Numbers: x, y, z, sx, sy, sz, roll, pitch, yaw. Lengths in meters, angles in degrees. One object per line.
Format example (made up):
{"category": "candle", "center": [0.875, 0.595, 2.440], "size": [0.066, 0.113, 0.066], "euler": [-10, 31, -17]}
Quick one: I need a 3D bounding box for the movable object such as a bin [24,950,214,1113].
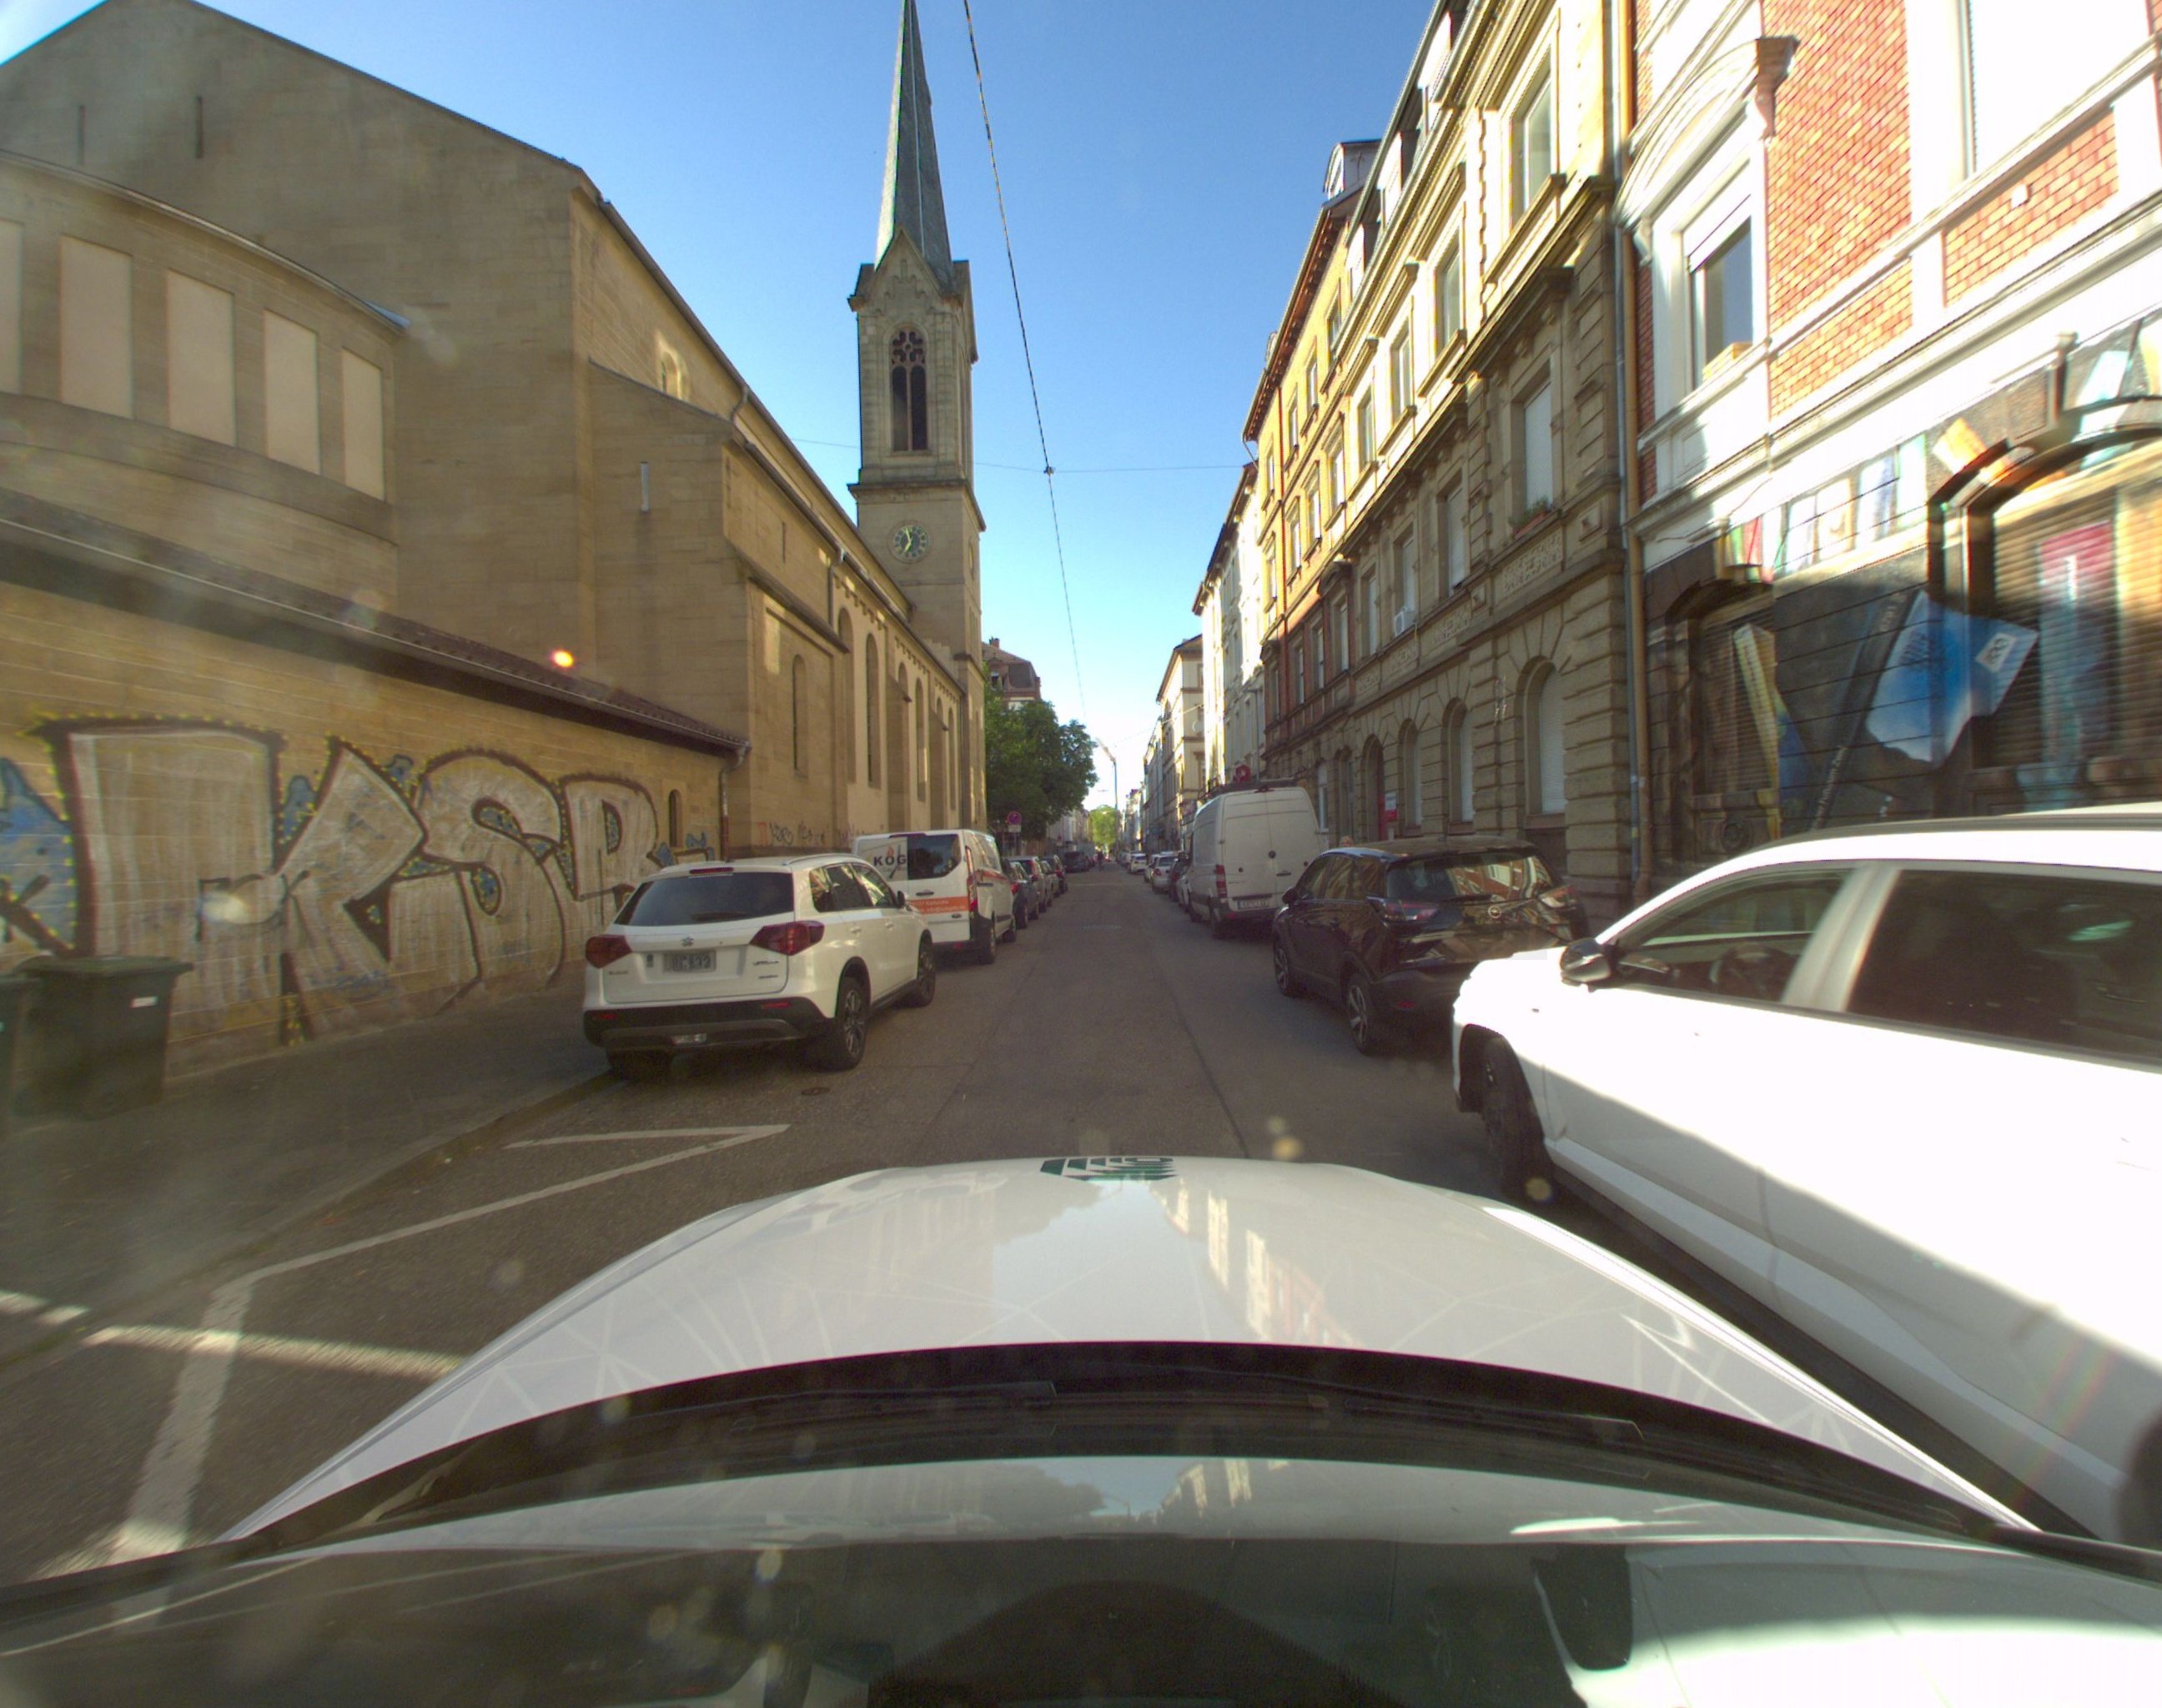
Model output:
{"category": "movable object such as a bin", "center": [-5.937, 1.076, 5.054], "size": [0.480, 0.876, 0.571], "euler": [-1, 0, 1]}

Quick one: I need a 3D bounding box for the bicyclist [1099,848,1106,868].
{"category": "bicyclist", "center": [1.793, 0.324, 67.729], "size": [0.603, 1.688, 0.885], "euler": [-2, 0, 2]}

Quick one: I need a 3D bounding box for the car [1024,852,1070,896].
{"category": "car", "center": [-1.361, 0.787, 34.109], "size": [1.594, 1.614, 3.809], "euler": [-4, 0, 1]}

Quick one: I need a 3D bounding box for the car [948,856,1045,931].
{"category": "car", "center": [-1.843, 0.836, 18.908], "size": [1.609, 1.451, 3.952], "euler": [-3, 0, 2]}

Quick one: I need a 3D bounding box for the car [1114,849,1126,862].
{"category": "car", "center": [6.611, 0.219, 137.485], "size": [1.986, 2.013, 4.002], "euler": [-2, 0, 2]}

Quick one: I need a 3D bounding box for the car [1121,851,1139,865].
{"category": "car", "center": [5.679, 0.477, 95.397], "size": [1.986, 1.632, 4.002], "euler": [1, 0, 2]}

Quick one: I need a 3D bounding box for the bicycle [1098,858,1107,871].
{"category": "bicycle", "center": [1.804, 0.852, 67.801], "size": [0.736, 1.043, 1.860], "euler": [-2, 0, 2]}

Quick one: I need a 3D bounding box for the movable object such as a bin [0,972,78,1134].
{"category": "movable object such as a bin", "center": [-5.955, 1.083, 4.348], "size": [0.451, 0.807, 0.590], "euler": [-1, 0, 1]}

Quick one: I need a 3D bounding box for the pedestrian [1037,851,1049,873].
{"category": "pedestrian", "center": [-3.178, 0.694, 67.894], "size": [0.925, 1.786, 0.807], "euler": [-2, 0, 3]}

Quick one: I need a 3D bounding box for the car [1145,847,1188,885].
{"category": "car", "center": [3.937, 0.547, 38.185], "size": [1.710, 1.645, 4.002], "euler": [-2, 0, 2]}

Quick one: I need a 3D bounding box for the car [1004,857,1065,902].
{"category": "car", "center": [-1.623, 0.873, 29.610], "size": [1.563, 1.398, 3.813], "euler": [-5, 0, 4]}

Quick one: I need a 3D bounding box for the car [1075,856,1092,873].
{"category": "car", "center": [0.331, 1.215, 95.023], "size": [1.868, 1.796, 4.002], "euler": [-2, 0, 2]}

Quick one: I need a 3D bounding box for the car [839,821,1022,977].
{"category": "car", "center": [-2.148, 0.595, 13.028], "size": [1.857, 1.957, 4.611], "euler": [-3, 0, 1]}

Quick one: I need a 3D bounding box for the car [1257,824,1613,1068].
{"category": "car", "center": [2.851, 0.630, 7.551], "size": [1.681, 1.642, 3.926], "euler": [-1, 0, 2]}

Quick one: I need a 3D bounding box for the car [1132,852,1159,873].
{"category": "car", "center": [4.814, 0.608, 61.201], "size": [1.890, 1.488, 3.871], "euler": [-2, 0, 2]}

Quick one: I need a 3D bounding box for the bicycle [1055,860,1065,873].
{"category": "bicycle", "center": [-1.797, 1.049, 70.376], "size": [0.644, 1.108, 1.600], "euler": [-1, 0, -9]}

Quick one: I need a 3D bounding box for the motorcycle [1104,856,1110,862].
{"category": "motorcycle", "center": [4.669, 0.829, 145.574], "size": [1.039, 0.980, 2.824], "euler": [-2, 0, 0]}

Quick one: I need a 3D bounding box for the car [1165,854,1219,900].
{"category": "car", "center": [3.743, 0.738, 27.912], "size": [1.563, 1.495, 3.656], "euler": [0, 0, 3]}

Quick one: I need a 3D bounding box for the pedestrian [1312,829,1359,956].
{"category": "pedestrian", "center": [3.673, 0.541, 11.791], "size": [0.635, 1.772, 0.681], "euler": [0, -1, 15]}

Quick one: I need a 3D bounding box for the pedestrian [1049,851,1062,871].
{"category": "pedestrian", "center": [-2.098, 0.548, 67.058], "size": [0.925, 1.637, 0.807], "euler": [-2, 0, 3]}

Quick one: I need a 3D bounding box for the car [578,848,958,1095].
{"category": "car", "center": [-2.342, 0.766, 7.253], "size": [1.735, 1.586, 3.871], "euler": [-1, 0, 2]}

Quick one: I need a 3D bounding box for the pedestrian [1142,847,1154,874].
{"category": "pedestrian", "center": [4.610, 0.428, 56.164], "size": [0.681, 1.843, 0.692], "euler": [-1, 0, -10]}

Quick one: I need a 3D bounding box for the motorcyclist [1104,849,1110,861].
{"category": "motorcyclist", "center": [4.655, 0.217, 145.393], "size": [0.899, 2.013, 1.190], "euler": [-2, 0, 0]}

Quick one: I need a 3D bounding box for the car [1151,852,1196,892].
{"category": "car", "center": [3.662, 0.693, 32.833], "size": [1.597, 1.505, 4.003], "euler": [0, 0, 3]}

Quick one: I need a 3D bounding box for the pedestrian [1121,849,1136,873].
{"category": "pedestrian", "center": [3.698, 0.517, 63.613], "size": [0.775, 1.843, 1.018], "euler": [-1, 0, 27]}

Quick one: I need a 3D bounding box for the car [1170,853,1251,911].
{"category": "car", "center": [3.604, 0.717, 23.286], "size": [1.773, 1.486, 4.362], "euler": [0, 0, 2]}

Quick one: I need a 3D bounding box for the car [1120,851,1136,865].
{"category": "car", "center": [6.135, 0.501, 106.033], "size": [1.986, 1.686, 4.002], "euler": [1, 0, 2]}

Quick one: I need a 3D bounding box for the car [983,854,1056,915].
{"category": "car", "center": [-1.702, 0.802, 23.636], "size": [1.667, 1.558, 4.001], "euler": [-2, 0, 1]}

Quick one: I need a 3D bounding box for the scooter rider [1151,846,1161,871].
{"category": "scooter rider", "center": [5.082, 0.321, 55.055], "size": [0.646, 1.642, 0.685], "euler": [-2, 0, 7]}

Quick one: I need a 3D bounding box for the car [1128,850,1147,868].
{"category": "car", "center": [5.646, 0.442, 81.961], "size": [1.762, 1.741, 4.002], "euler": [-2, 0, 2]}

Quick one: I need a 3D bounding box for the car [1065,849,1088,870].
{"category": "car", "center": [-0.377, 0.457, 73.471], "size": [1.868, 1.796, 4.002], "euler": [-2, 0, 2]}

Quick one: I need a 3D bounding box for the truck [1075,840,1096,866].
{"category": "truck", "center": [0.700, -0.134, 111.688], "size": [2.522, 3.282, 6.998], "euler": [-2, 0, 2]}

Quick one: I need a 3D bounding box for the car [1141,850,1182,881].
{"category": "car", "center": [4.233, 0.575, 43.148], "size": [1.711, 1.488, 3.868], "euler": [-2, 0, -1]}

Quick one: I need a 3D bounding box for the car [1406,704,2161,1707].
{"category": "car", "center": [2.558, 0.635, 2.259], "size": [1.800, 1.690, 4.217], "euler": [0, 0, 2]}

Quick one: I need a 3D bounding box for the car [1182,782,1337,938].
{"category": "car", "center": [3.369, 0.086, 16.668], "size": [2.060, 2.611, 5.891], "euler": [-1, 0, 2]}
